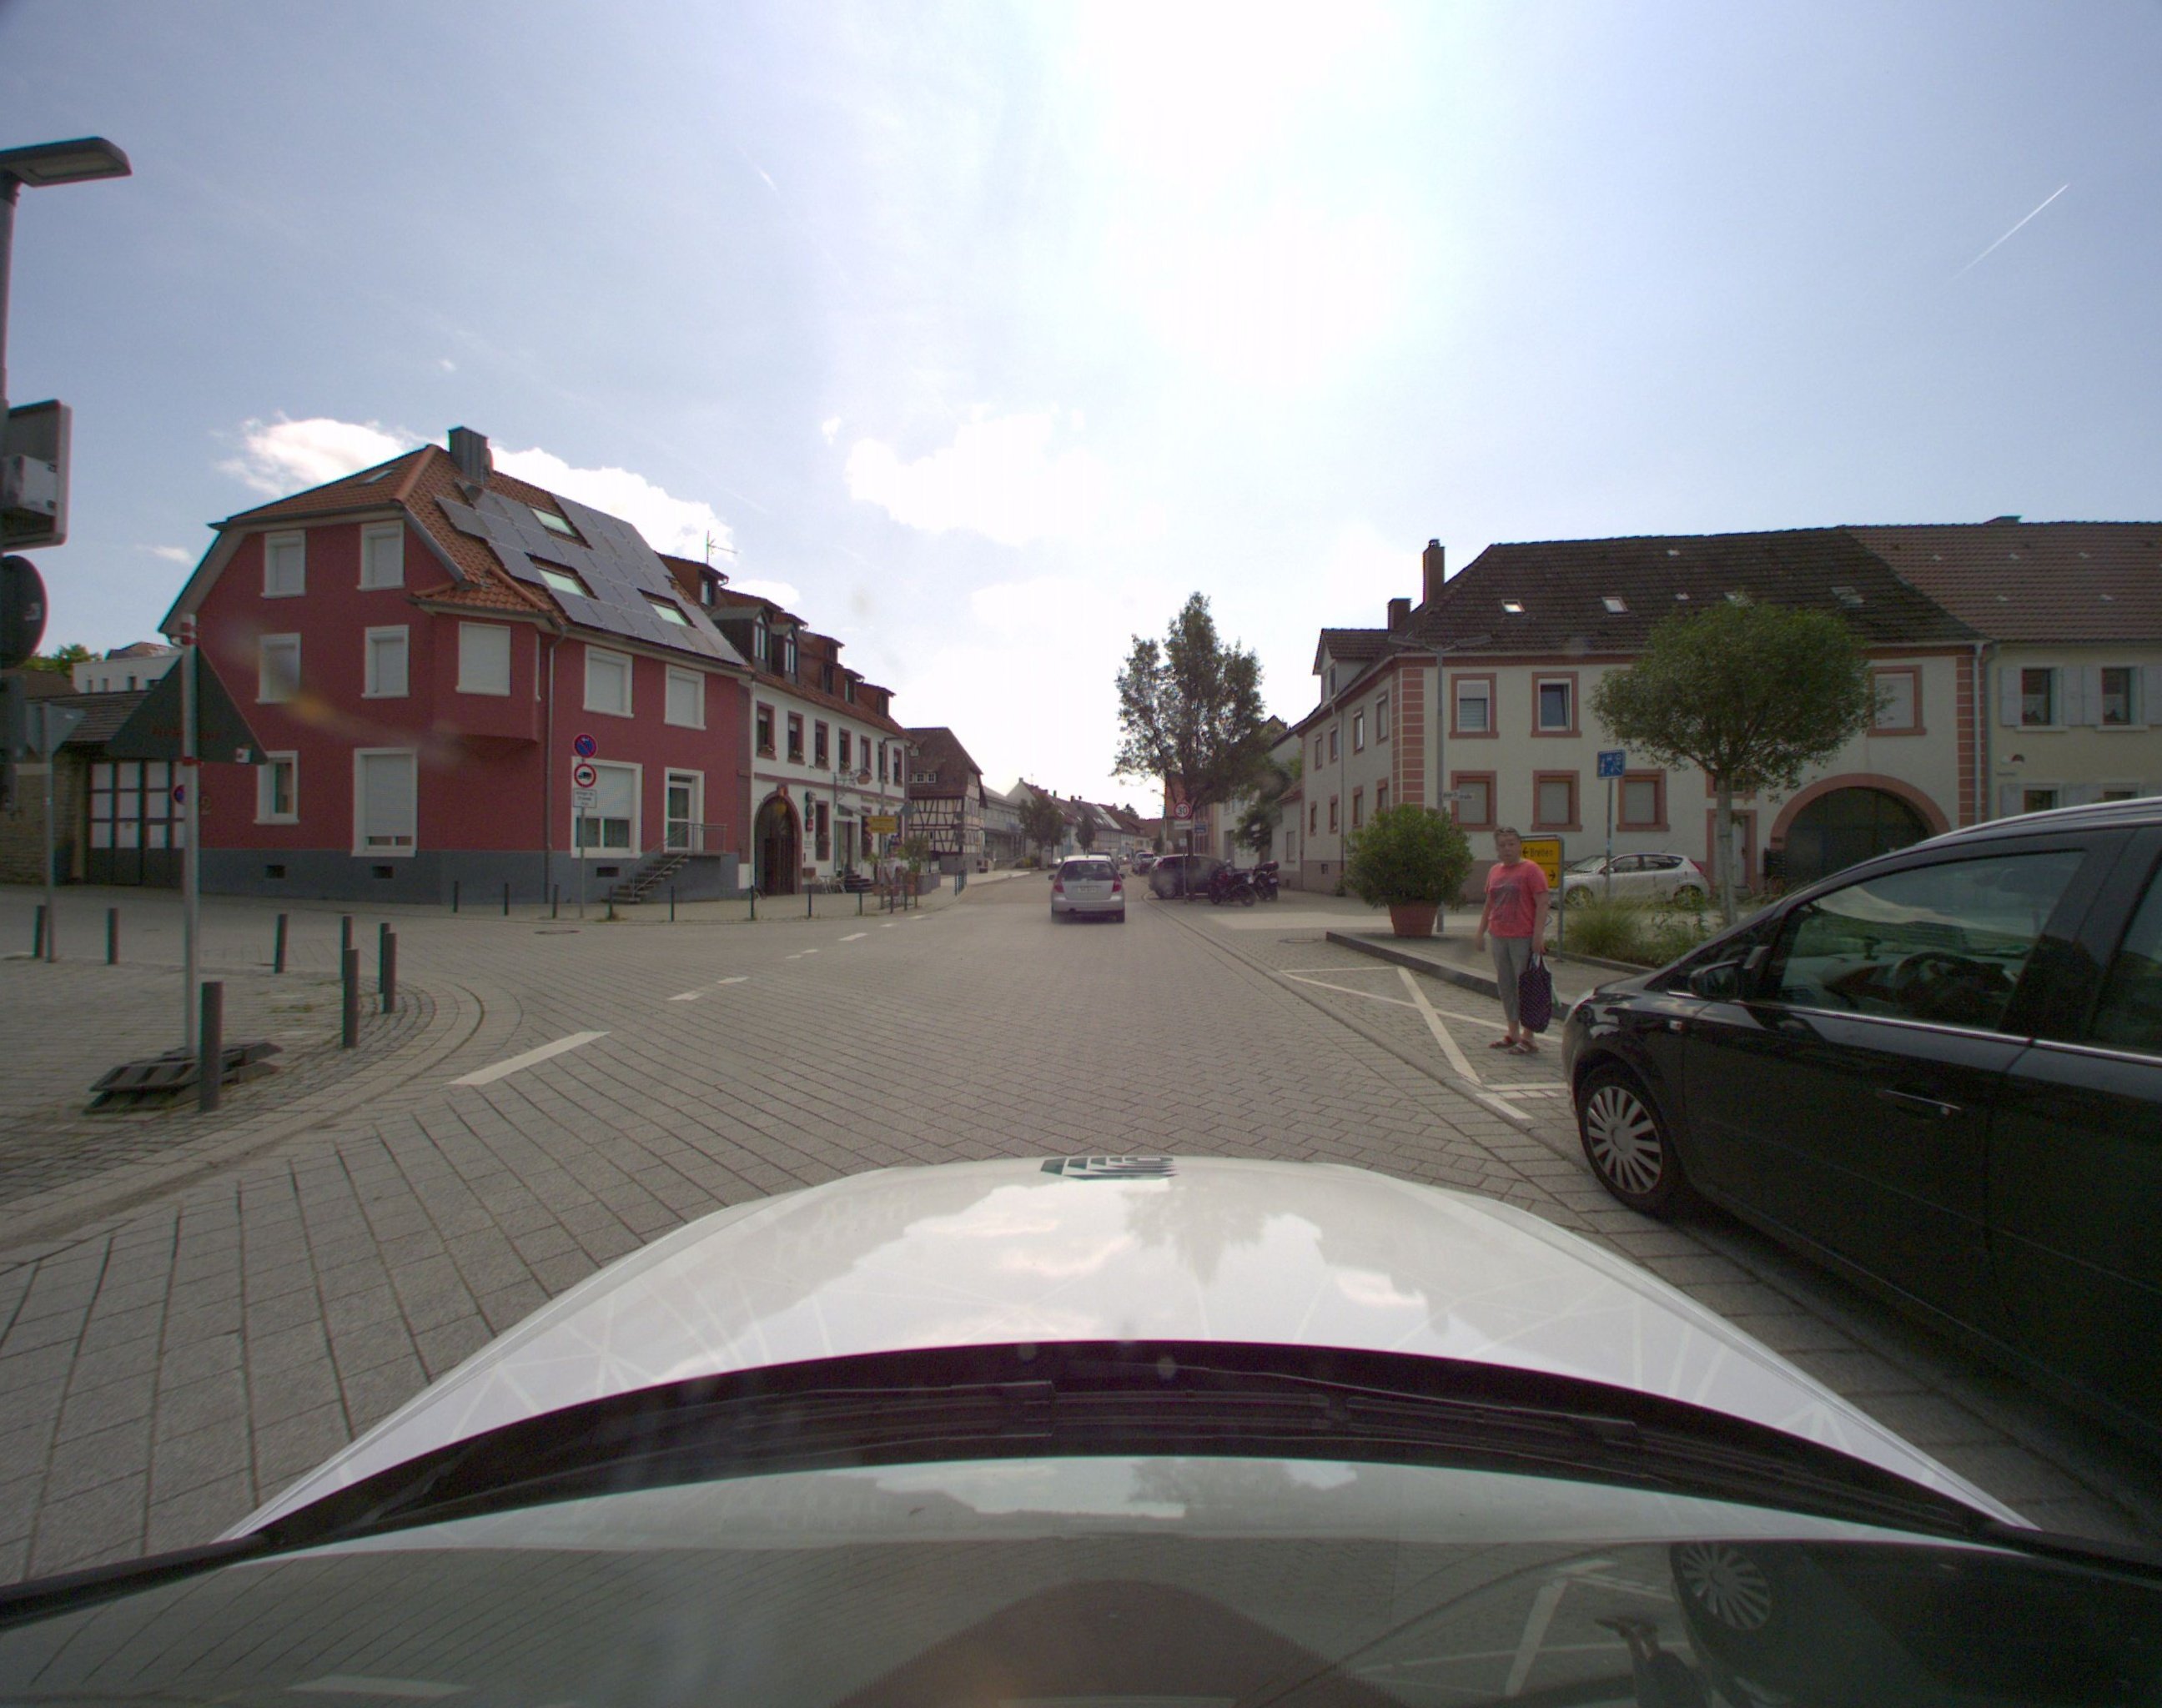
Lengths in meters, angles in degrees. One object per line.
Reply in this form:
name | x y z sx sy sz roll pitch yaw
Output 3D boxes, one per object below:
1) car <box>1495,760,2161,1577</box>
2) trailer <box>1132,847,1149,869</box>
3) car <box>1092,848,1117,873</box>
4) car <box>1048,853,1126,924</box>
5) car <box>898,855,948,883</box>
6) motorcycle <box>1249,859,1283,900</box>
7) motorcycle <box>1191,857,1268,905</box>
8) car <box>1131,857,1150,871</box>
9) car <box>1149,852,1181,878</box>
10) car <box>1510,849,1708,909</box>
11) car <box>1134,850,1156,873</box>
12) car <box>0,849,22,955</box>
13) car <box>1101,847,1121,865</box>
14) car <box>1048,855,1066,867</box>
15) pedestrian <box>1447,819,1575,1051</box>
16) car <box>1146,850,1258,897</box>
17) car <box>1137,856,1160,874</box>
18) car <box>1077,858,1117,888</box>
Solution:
car | 2.966 0.570 2.103 1.761 1.564 4.423 -3 0 4
trailer | 6.743 0.458 92.618 1.838 2.354 3.591 -1 0 2
car | 1.957 0.523 66.871 1.761 1.888 4.451 2 -1 4
car | 0.144 0.792 20.629 1.763 1.594 3.999 -1 0 0
car | -9.361 0.858 48.546 1.750 1.492 4.282 4 0 5
motorcycle | 6.112 0.817 26.997 0.953 1.298 2.232 -2 -1 10
motorcycle | 4.480 0.800 24.676 0.878 1.395 2.198 0 -1 -45
car | 6.354 1.032 87.402 1.868 1.481 4.677 1 0 3
car | 5.833 0.743 56.799 1.985 1.680 4.326 0 0 3
car | 13.693 0.630 21.324 3.971 1.473 1.829 0 0 7
car | 6.086 0.701 77.997 1.884 1.982 4.934 -2 0 3
car | -17.651 0.682 11.479 3.914 1.518 1.779 0 0 12
car | 3.811 0.253 102.231 2.226 2.222 4.005 -1 -1 4
car | -3.124 0.925 105.828 1.795 1.460 4.166 1 0 6
pedestrian | 3.170 0.568 6.055 0.636 1.629 0.621 0 -1 5
car | 4.457 0.707 30.400 3.837 1.577 1.849 -2 0 -2
car | 5.761 0.939 69.948 1.767 1.495 4.164 0 0 3
car | 0.839 0.919 41.270 1.938 1.407 4.002 0 0 2
